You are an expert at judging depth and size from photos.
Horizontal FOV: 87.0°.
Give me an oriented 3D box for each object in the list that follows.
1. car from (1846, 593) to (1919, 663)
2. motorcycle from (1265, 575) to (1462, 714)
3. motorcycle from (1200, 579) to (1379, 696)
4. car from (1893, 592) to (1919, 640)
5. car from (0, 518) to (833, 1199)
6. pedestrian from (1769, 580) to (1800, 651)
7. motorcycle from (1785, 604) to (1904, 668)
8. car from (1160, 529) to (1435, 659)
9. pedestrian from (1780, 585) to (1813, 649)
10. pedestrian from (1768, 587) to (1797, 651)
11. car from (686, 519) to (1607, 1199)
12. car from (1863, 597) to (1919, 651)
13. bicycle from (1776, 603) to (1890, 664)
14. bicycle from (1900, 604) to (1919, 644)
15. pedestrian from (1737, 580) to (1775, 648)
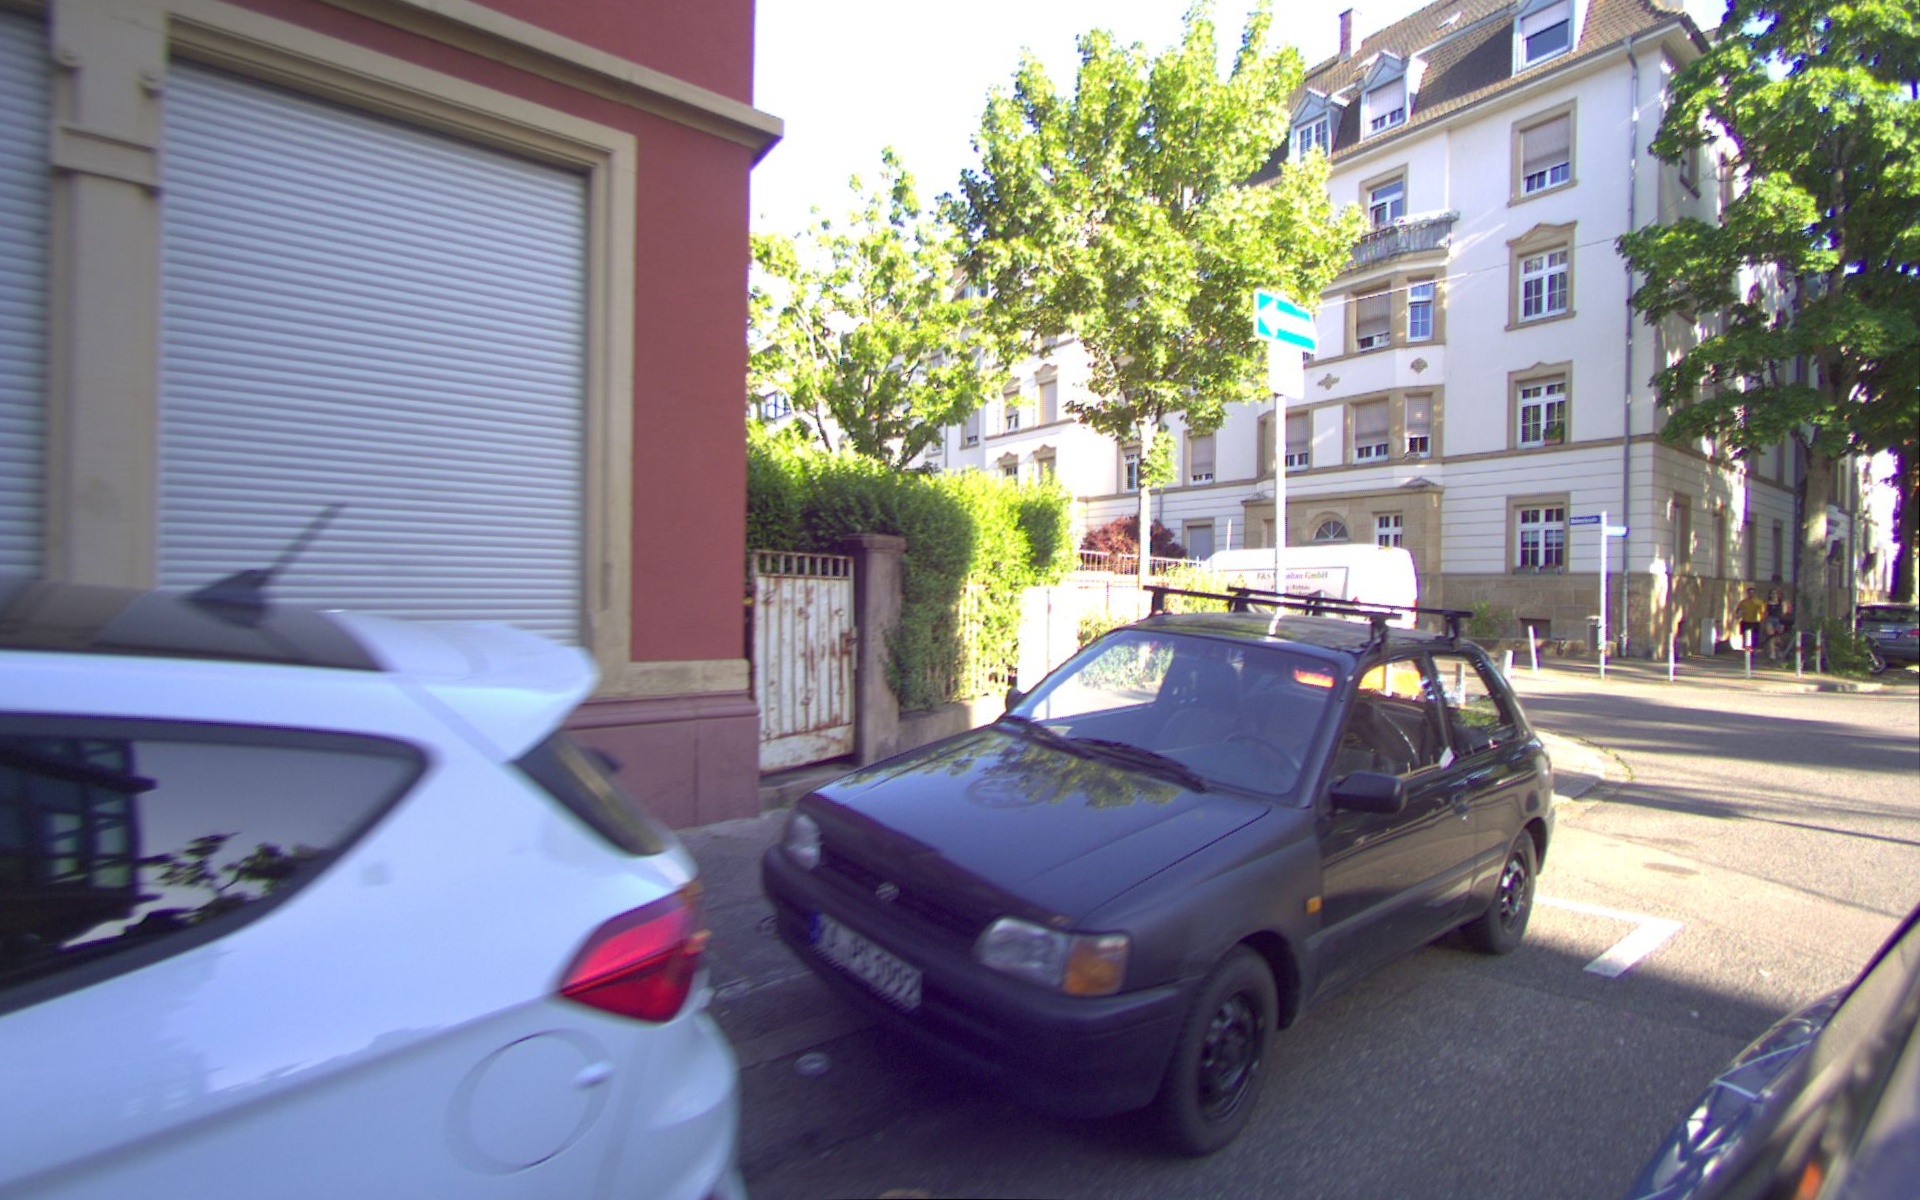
[{"bbox_3d":[22.975,0.640,24.603,4.063,1.559,1.683,0,2,-42],"label":"car"},{"bbox_3d":[4.975,0.512,12.395,2.571,1.544,0.875,1,0,-33],"label":"motorcycle"},{"bbox_3d":[4.403,0.453,13.448,2.493,1.422,0.872,0,1,-33],"label":"motorcycle"},{"bbox_3d":[32.900,0.526,34.180,3.930,1.552,1.638,0,1,-41],"label":"car"},{"bbox_3d":[-2.219,0.650,0.919,3.901,1.481,1.708,0,1,-41],"label":"car"},{"bbox_3d":[20.365,0.374,25.000,0.508,1.740,0.519,0,0,-43],"label":"pedestrian"},{"bbox_3d":[19.419,0.763,22.248,0.667,1.227,1.852,2,2,-43],"label":"motorcycle"},{"bbox_3d":[7.234,-0.185,22.442,2.260,2.498,5.670,0,1,-31],"label":"car"},{"bbox_3d":[25.063,0.504,30.329,0.704,1.868,0.827,1,0,43],"label":"pedestrian"},{"bbox_3d":[24.267,0.558,29.871,0.694,1.868,0.529,0,0,-40],"label":"pedestrian"},{"bbox_3d":[0.999,0.568,3.941,3.643,1.501,1.671,0,1,-42],"label":"car"},{"bbox_3d":[26.825,0.652,28.646,1.723,1.424,3.795,2,2,44],"label":"car"},{"bbox_3d":[18.720,0.690,21.758,0.424,1.176,1.802,1,2,-25],"label":"bicycle"},{"bbox_3d":[29.437,0.740,30.636,0.330,1.210,1.412,0,0,-43],"label":"bicycle"},{"bbox_3d":[20.186,0.342,25.664,0.804,1.706,0.624,0,0,-42],"label":"pedestrian"}]
